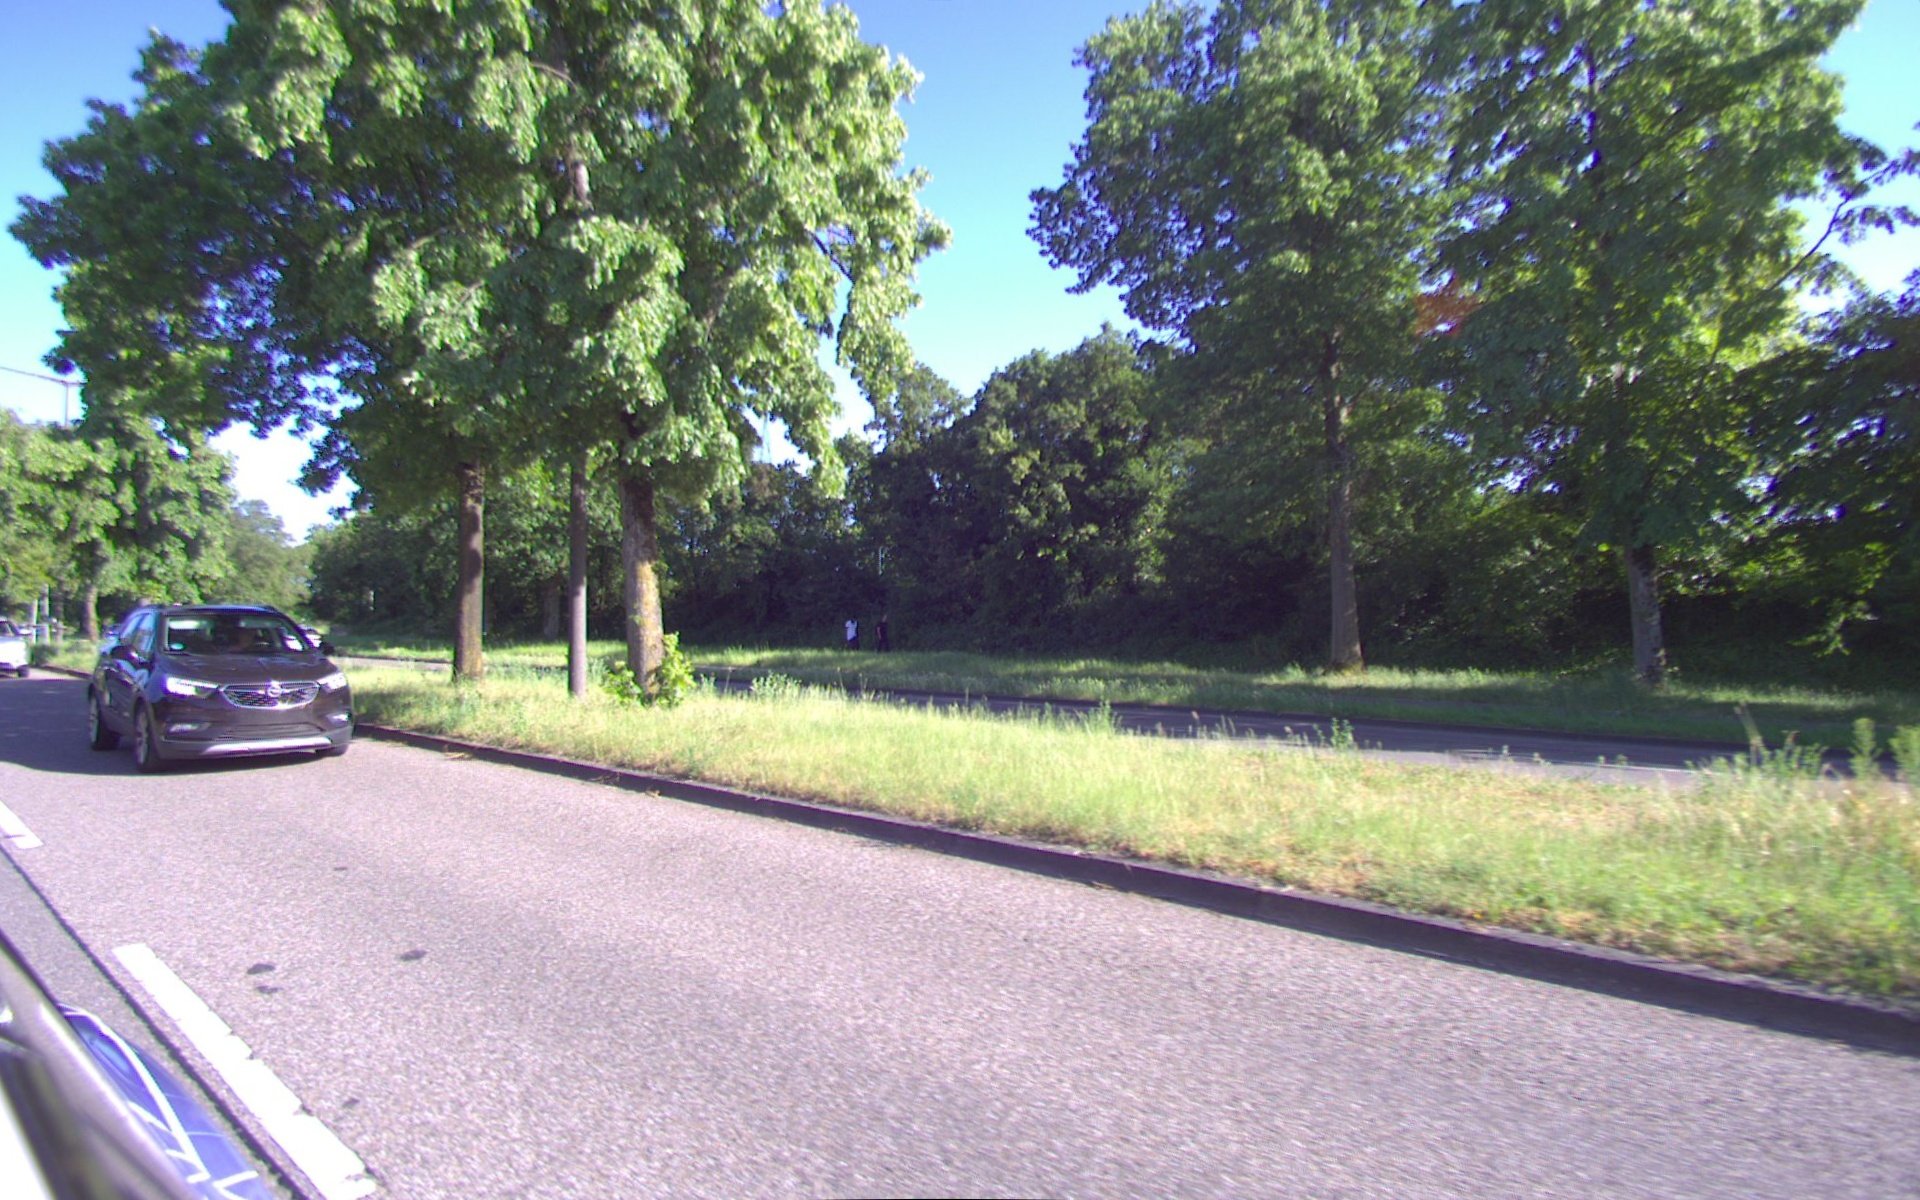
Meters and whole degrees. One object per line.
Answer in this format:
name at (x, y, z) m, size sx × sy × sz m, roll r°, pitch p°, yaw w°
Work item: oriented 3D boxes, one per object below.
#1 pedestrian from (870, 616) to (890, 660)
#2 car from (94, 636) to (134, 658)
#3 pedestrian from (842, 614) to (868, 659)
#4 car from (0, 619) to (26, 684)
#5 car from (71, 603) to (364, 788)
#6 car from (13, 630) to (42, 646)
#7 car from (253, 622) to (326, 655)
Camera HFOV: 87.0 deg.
pedestrian at (-3.082, 1.441, 39.010) m, size 0.539 × 1.672 × 0.554 m, roll -1°, pitch 0°, yaw 36°
car at (-64.316, 3.553, 76.940) m, size 3.745 × 1.590 × 1.710 m, roll -2°, pitch -4°, yaw 41°
pedestrian at (-3.937, 1.354, 37.925) m, size 0.678 × 1.672 × 0.675 m, roll -1°, pitch 0°, yaw 37°
car at (-25.842, 1.312, 26.380) m, size 4.104 × 1.622 × 1.766 m, roll -1°, pitch -2°, yaw 41°
car at (-8.274, 0.893, 11.113) m, size 4.415 × 1.644 × 1.678 m, roll -1°, pitch -2°, yaw 41°
car at (-95.097, 3.905, 103.156) m, size 3.745 × 1.590 × 1.710 m, roll -2°, pitch -4°, yaw 41°
car at (-31.633, 1.836, 47.717) m, size 4.343 × 1.468 × 1.708 m, roll -2°, pitch -4°, yaw 41°
